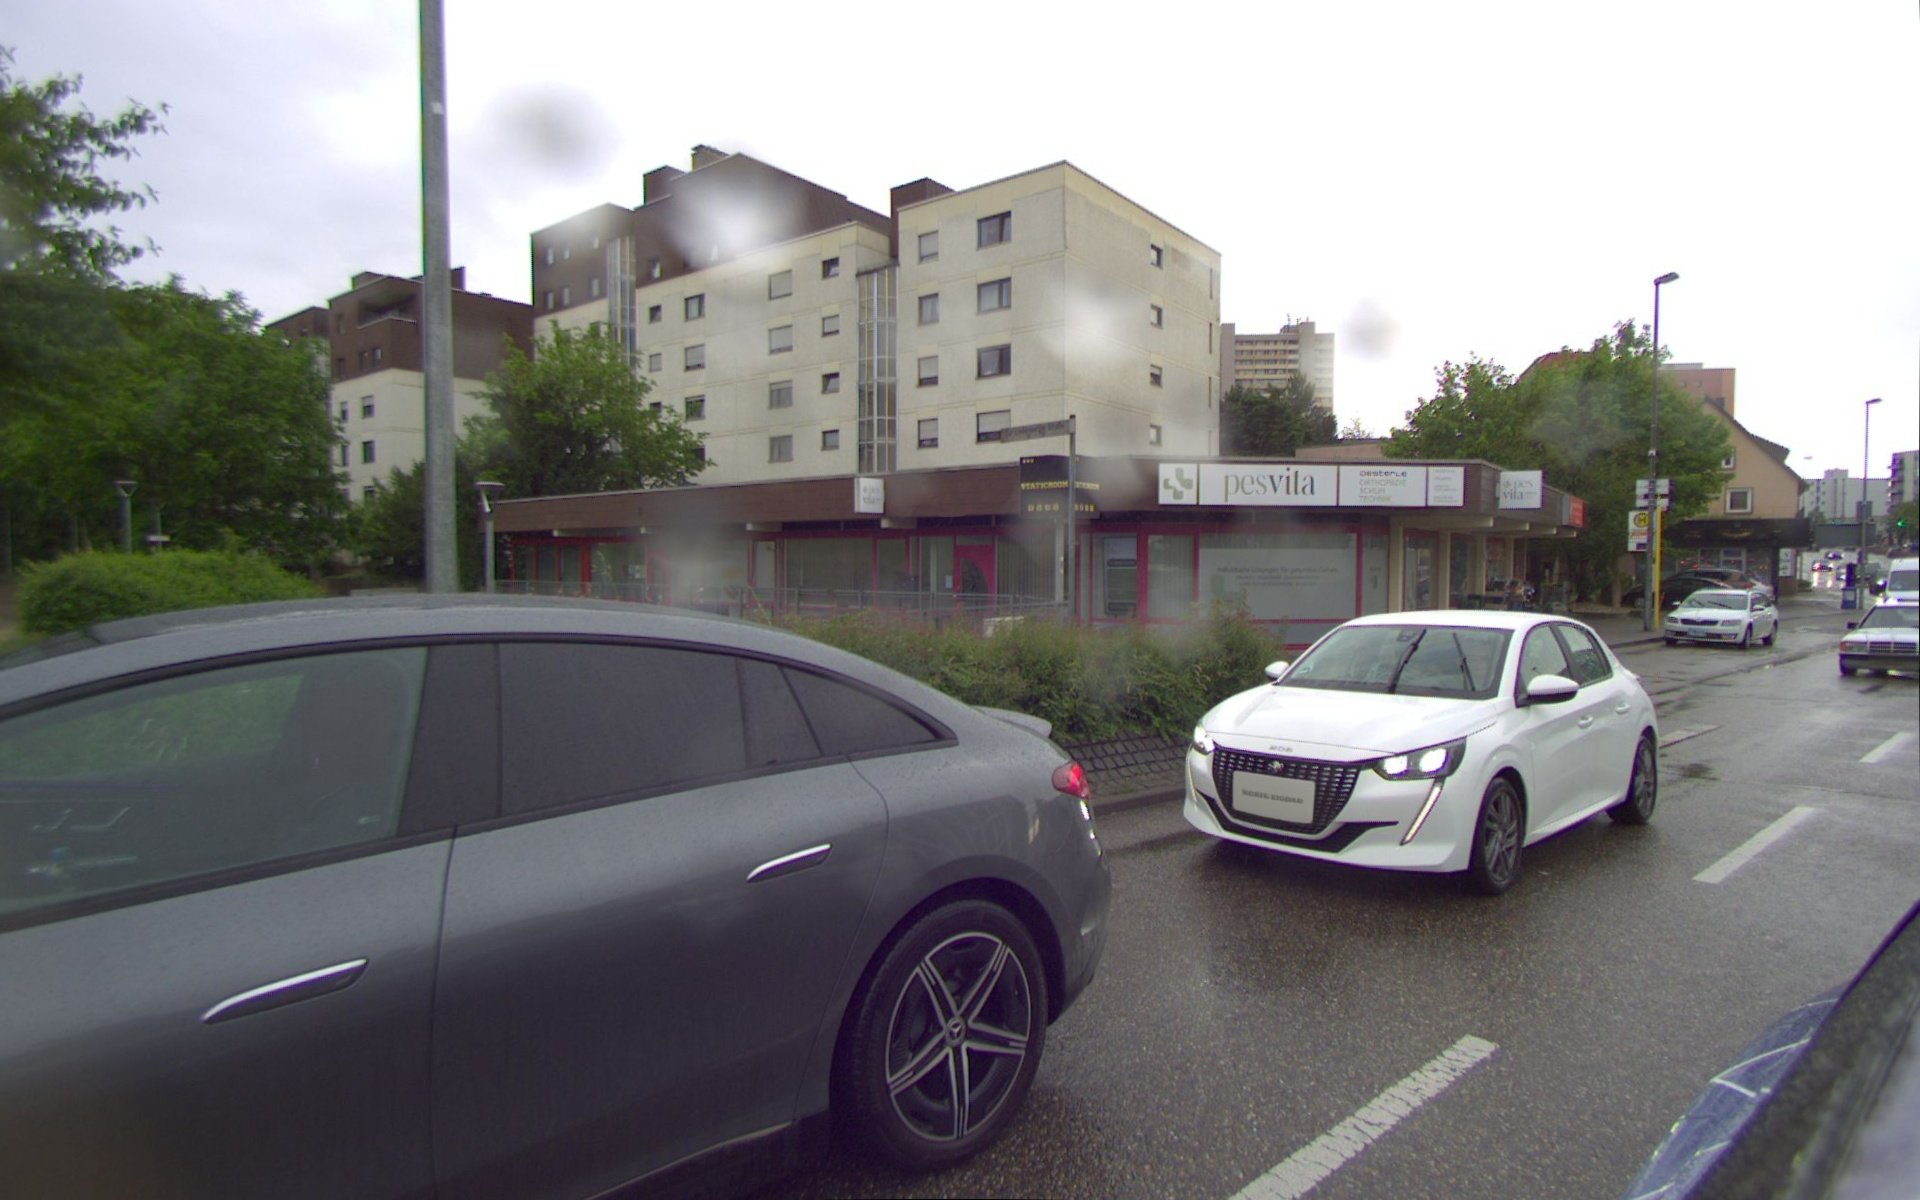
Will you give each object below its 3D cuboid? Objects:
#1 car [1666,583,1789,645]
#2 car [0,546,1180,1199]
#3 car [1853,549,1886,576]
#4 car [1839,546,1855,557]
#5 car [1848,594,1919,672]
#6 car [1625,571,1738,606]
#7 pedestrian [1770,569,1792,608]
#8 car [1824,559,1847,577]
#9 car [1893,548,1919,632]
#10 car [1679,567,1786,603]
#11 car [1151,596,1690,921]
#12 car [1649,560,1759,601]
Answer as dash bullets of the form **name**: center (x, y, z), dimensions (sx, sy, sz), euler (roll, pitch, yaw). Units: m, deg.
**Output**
- **car**: center (20.144, 0.321, 26.525), dimensions (3.930, 1.509, 1.787), euler (-1, 1, -41)
- **car**: center (-1.658, 0.672, 2.398), dimensions (4.724, 1.485, 1.840), euler (1, -1, -41)
- **car**: center (71.533, -2.919, 79.629), dimensions (1.713, 2.025, 3.782), euler (1, 1, 39)
- **car**: center (140.250, -7.624, 159.990), dimensions (1.657, 1.654, 3.754), euler (1, 1, 37)
- **car**: center (18.488, 0.576, 19.290), dimensions (4.089, 1.362, 1.787), euler (-1, 1, -41)
- **car**: center (32.082, -0.534, 45.043), dimensions (3.981, 1.445, 1.858), euler (2, 2, 39)
- **pedestrian**: center (39.256, -0.554, 48.401), dimensions (0.740, 1.804, 0.749), euler (0, 0, -44)
- **car**: center (102.862, -3.790, 118.847), dimensions (1.992, 2.039, 3.940), euler (0, 1, 42)
- **car**: center (31.553, -0.361, 32.304), dimensions (6.021, 2.549, 2.194), euler (-1, 2, -43)
- **car**: center (36.878, -0.739, 48.369), dimensions (3.981, 1.614, 1.857), euler (2, 0, 39)
- **car**: center (3.168, 0.714, 6.558), dimensions (4.043, 1.433, 1.665), euler (0, 1, -41)
- **car**: center (34.228, -0.900, 46.600), dimensions (3.981, 1.801, 1.858), euler (2, 2, 39)
